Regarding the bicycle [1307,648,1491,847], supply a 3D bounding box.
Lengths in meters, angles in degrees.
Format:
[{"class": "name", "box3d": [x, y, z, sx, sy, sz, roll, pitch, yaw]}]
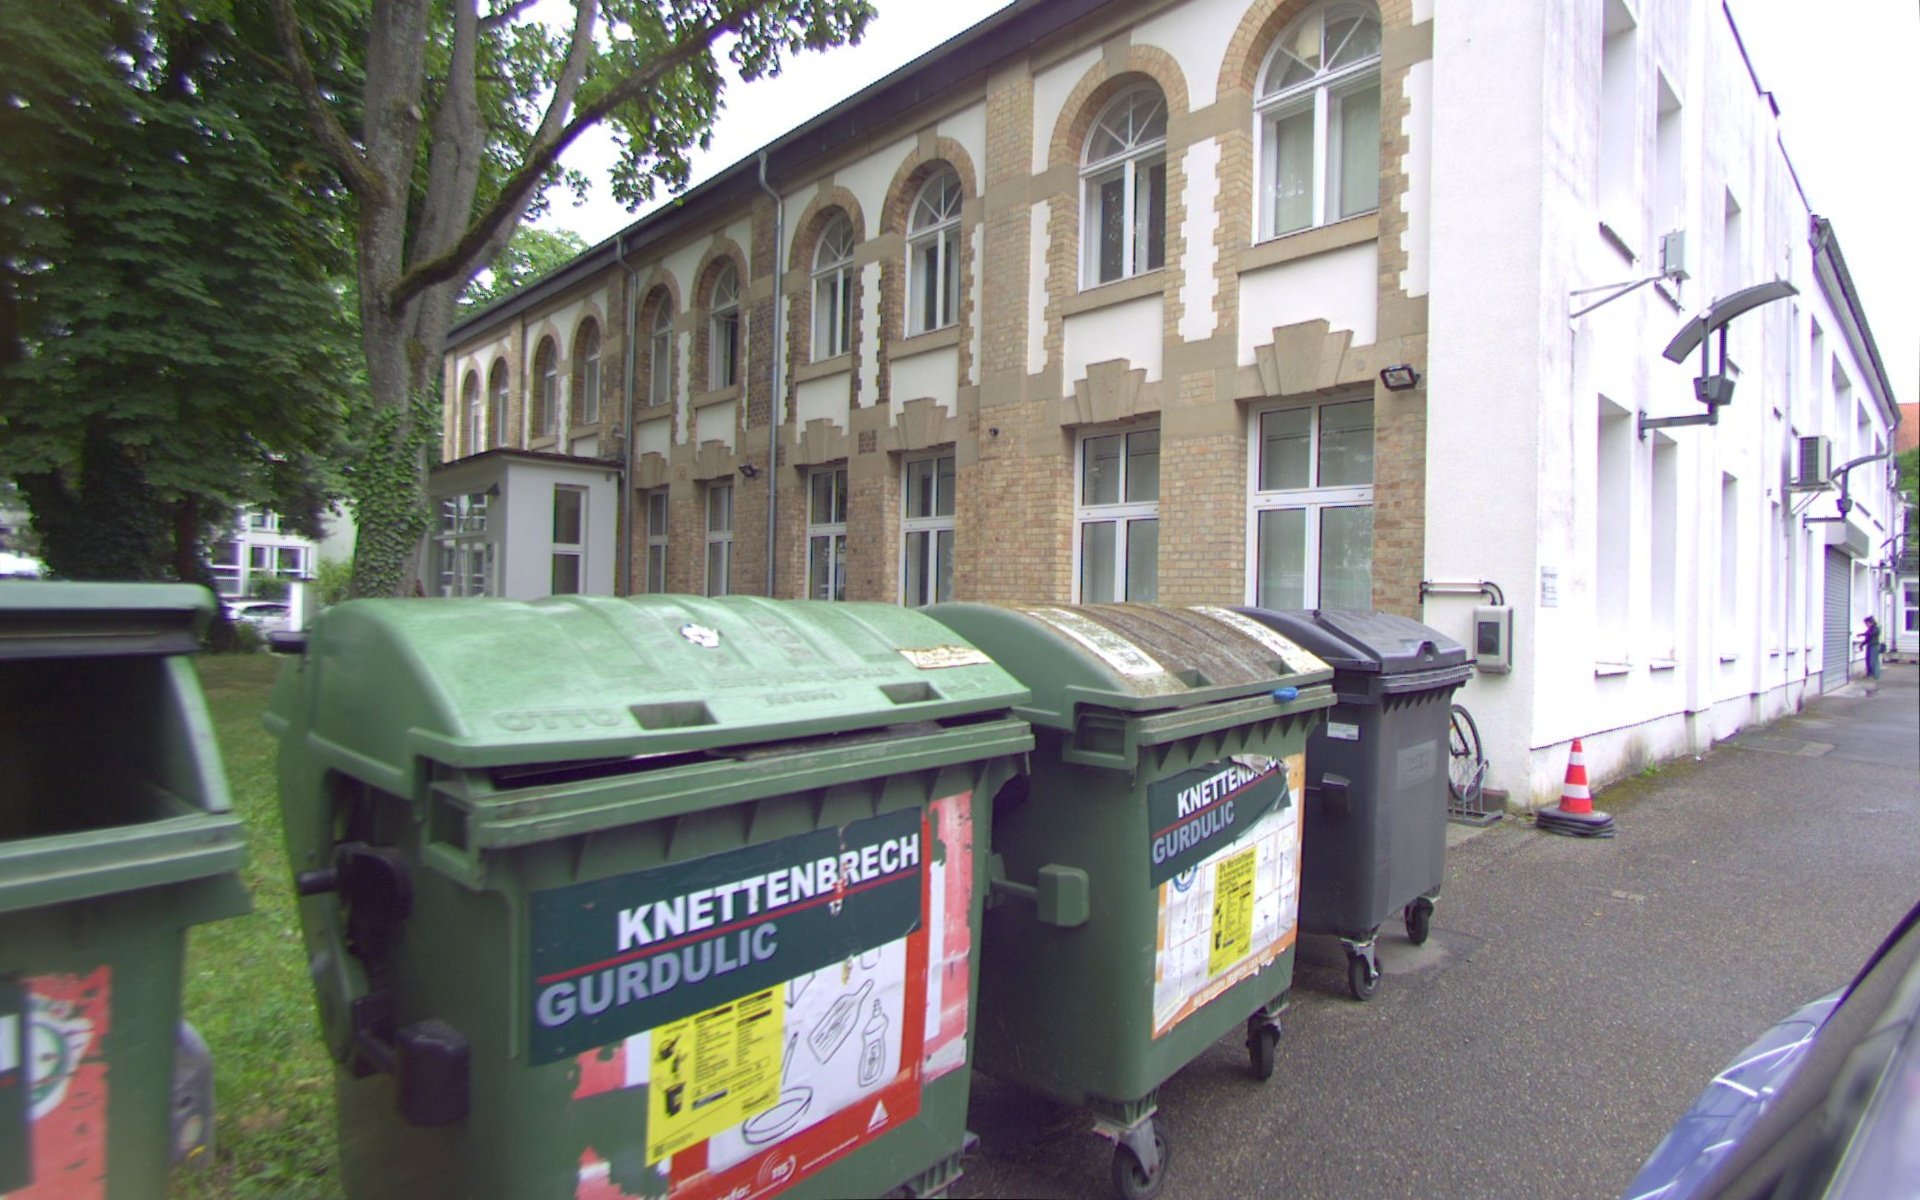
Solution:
[{"class": "bicycle", "box3d": [2.990, 0.917, 6.804, 1.714, 1.129, 0.460, 1, 0, -42]}]

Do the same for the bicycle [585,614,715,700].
[{"class": "bicycle", "box3d": [-4.360, 0.777, 14.318, 1.714, 1.129, 0.460, 1, 0, -42]}]

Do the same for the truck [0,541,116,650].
[{"class": "truck", "box3d": [-23.810, -0.128, 24.430, 2.141, 2.578, 4.899, 1, 0, 18]}]

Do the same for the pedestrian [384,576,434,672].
[{"class": "pedestrian", "box3d": [-9.525, 0.403, 17.491, 0.594, 1.607, 0.626, 1, 0, -44]}]

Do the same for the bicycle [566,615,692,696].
[{"class": "bicycle", "box3d": [-4.854, 0.789, 14.905, 1.714, 1.129, 0.460, 1, 0, -42]}]

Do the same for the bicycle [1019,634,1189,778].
[{"class": "bicycle", "box3d": [1.305, 0.883, 8.949, 1.713, 1.129, 0.460, 1, 0, -40]}]

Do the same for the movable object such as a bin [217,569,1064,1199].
[{"class": "movable object such as a bin", "box3d": [-0.607, 0.696, 2.096, 1.104, 1.468, 1.276, 1, -1, 40]}]

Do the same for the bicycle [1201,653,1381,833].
[{"class": "bicycle", "box3d": [2.478, 0.986, 7.468, 1.714, 1.129, 0.460, 1, 0, -42]}]

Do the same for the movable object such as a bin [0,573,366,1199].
[{"class": "movable object such as a bin", "box3d": [-1.572, 0.697, 1.110, 1.103, 1.468, 1.268, 1, -1, 39]}]

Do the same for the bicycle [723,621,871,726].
[{"class": "bicycle", "box3d": [-1.868, 0.819, 11.782, 1.714, 1.129, 0.460, 1, 0, -42]}]

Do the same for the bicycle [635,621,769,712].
[{"class": "bicycle", "box3d": [-3.430, 0.861, 13.550, 1.714, 1.129, 0.460, 1, 0, -42]}]

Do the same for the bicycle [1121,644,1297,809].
[{"class": "bicycle", "box3d": [2.005, 0.937, 7.998, 1.714, 1.129, 0.460, 1, 0, -42]}]

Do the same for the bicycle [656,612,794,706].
[{"class": "bicycle", "box3d": [-3.004, 0.723, 13.043, 1.714, 1.129, 0.460, 1, 0, -42]}]

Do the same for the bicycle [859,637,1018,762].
[{"class": "bicycle", "box3d": [-0.184, 0.960, 10.235, 1.714, 1.129, 0.460, 1, 0, -42]}]

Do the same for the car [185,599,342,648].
[{"class": "car", "box3d": [-21.534, 0.686, 31.462, 1.786, 1.371, 3.794, 1, 0, 14]}]

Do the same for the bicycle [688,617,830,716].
[{"class": "bicycle", "box3d": [-2.446, 0.783, 12.474, 1.714, 1.129, 0.460, 1, 0, -42]}]

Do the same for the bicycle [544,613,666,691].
[{"class": "bicycle", "box3d": [-5.415, 0.765, 15.507, 1.714, 1.129, 0.460, 1, 0, -42]}]

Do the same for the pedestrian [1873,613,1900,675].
[{"class": "pedestrian", "box3d": [24.148, 1.134, 26.387, 0.497, 1.582, 0.423, 1, 0, 42]}]

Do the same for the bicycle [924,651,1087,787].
[{"class": "bicycle", "box3d": [0.465, 1.088, 9.659, 1.714, 1.129, 0.460, 1, 0, -42]}]

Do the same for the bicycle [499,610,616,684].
[{"class": "bicycle", "box3d": [-6.534, 0.739, 16.481, 1.714, 1.129, 0.460, 1, 0, -42]}]

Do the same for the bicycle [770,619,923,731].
[{"class": "bicycle", "box3d": [-1.214, 0.781, 11.110, 1.714, 1.129, 0.460, 1, 0, -42]}]

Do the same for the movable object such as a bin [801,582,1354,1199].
[{"class": "movable object such as a bin", "box3d": [0.394, 0.696, 3.030, 1.104, 1.468, 1.307, 1, -1, 40]}]

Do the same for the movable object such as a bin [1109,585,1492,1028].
[{"class": "movable object such as a bin", "box3d": [1.459, 0.688, 4.247, 1.104, 1.468, 1.342, 1, -1, 41]}]
